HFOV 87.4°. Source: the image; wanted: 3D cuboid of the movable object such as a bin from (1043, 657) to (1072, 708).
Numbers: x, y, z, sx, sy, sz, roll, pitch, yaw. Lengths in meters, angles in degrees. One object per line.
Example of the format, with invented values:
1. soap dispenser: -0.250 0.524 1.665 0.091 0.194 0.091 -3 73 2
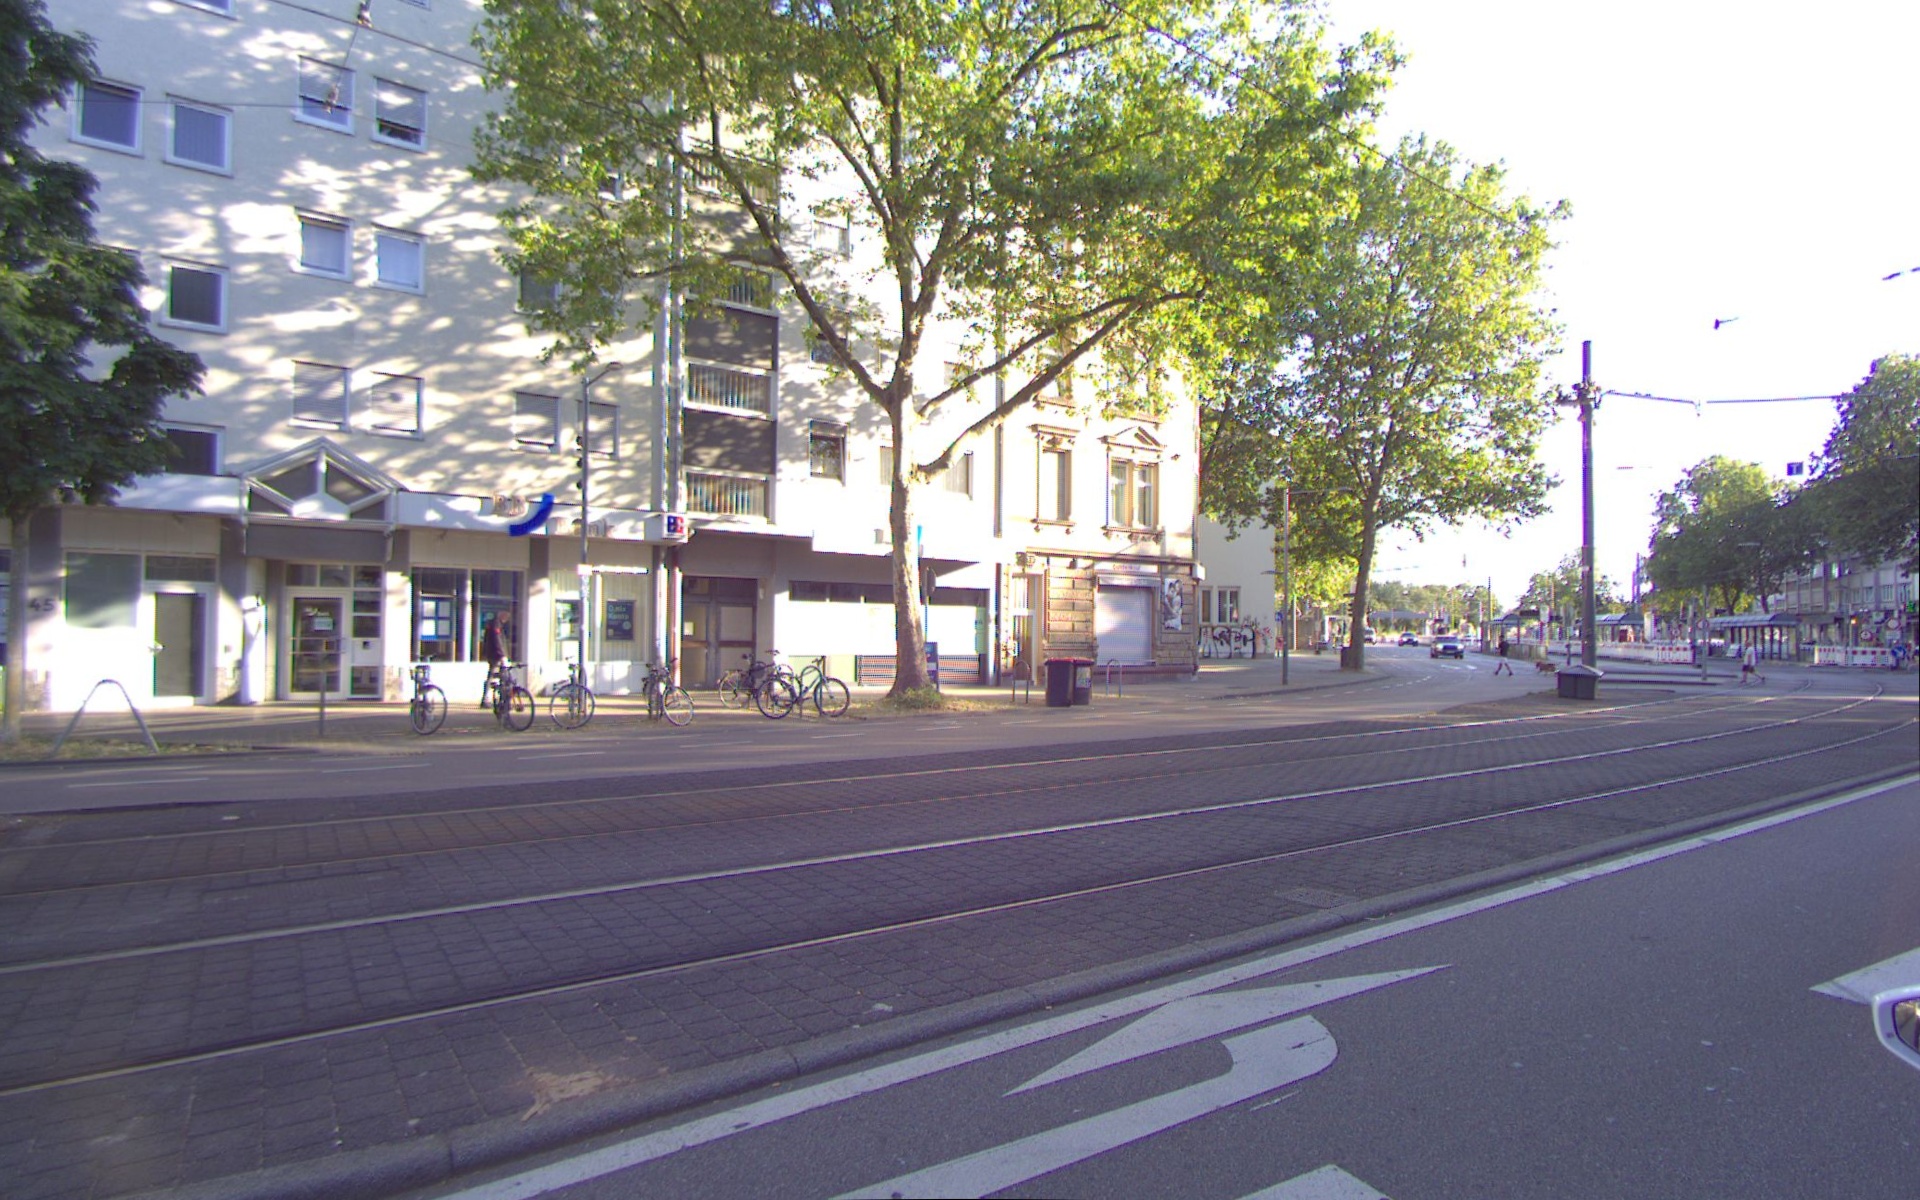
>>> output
1. movable object such as a bin: 2.157 1.823 22.226 0.634 1.108 0.546 0 -2 5

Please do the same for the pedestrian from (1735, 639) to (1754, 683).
1. pedestrian: 27.717 2.155 35.483 0.513 1.524 0.591 -1 -2 37

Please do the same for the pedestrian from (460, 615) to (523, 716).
1. pedestrian: -8.656 1.193 18.566 0.959 1.811 0.615 2 0 -31

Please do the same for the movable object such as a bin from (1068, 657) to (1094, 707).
1. movable object such as a bin: 2.741 1.864 22.844 0.562 1.108 0.477 0 -2 5

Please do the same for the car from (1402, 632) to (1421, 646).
1. car: 54.099 4.662 120.391 1.855 1.606 4.206 0 -2 22

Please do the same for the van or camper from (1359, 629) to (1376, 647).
1. van or camper: 55.595 5.169 137.185 2.132 2.349 5.103 0 -2 22

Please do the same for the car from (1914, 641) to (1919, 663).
1. car: 64.506 3.409 65.864 1.635 1.488 3.412 -3 -3 22

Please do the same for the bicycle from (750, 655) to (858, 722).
1. bicycle: -2.820 1.584 18.225 1.891 1.139 0.505 2 -1 -34

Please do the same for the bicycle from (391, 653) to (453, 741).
1. bicycle: -7.980 1.395 14.863 0.529 1.139 1.880 2 -1 -36

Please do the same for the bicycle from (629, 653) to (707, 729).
1. bicycle: -4.991 1.518 17.105 0.646 1.139 1.880 2 -1 -36

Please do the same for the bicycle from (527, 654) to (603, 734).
1. bicycle: -6.350 1.466 16.084 0.646 1.139 1.880 2 -1 -36

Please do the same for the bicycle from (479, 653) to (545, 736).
1. bicycle: -6.988 1.436 15.611 0.529 1.139 1.880 2 -1 -36

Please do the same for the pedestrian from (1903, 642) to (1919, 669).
1. pedestrian: 47.944 2.779 50.447 0.768 1.321 0.591 -1 -2 40

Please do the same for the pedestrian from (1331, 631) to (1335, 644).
1. pedestrian: 43.481 4.400 117.092 0.507 1.524 0.558 0 -2 23

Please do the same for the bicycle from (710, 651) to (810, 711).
1. bicycle: -3.968 1.594 20.021 1.891 1.139 0.505 2 -1 -34

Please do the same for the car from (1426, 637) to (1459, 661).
1. car: 32.593 3.284 67.959 1.856 1.492 4.205 0 -2 24

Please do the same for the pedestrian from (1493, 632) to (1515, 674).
1. pedestrian: 22.889 2.243 42.262 0.663 1.733 0.431 2 0 2
